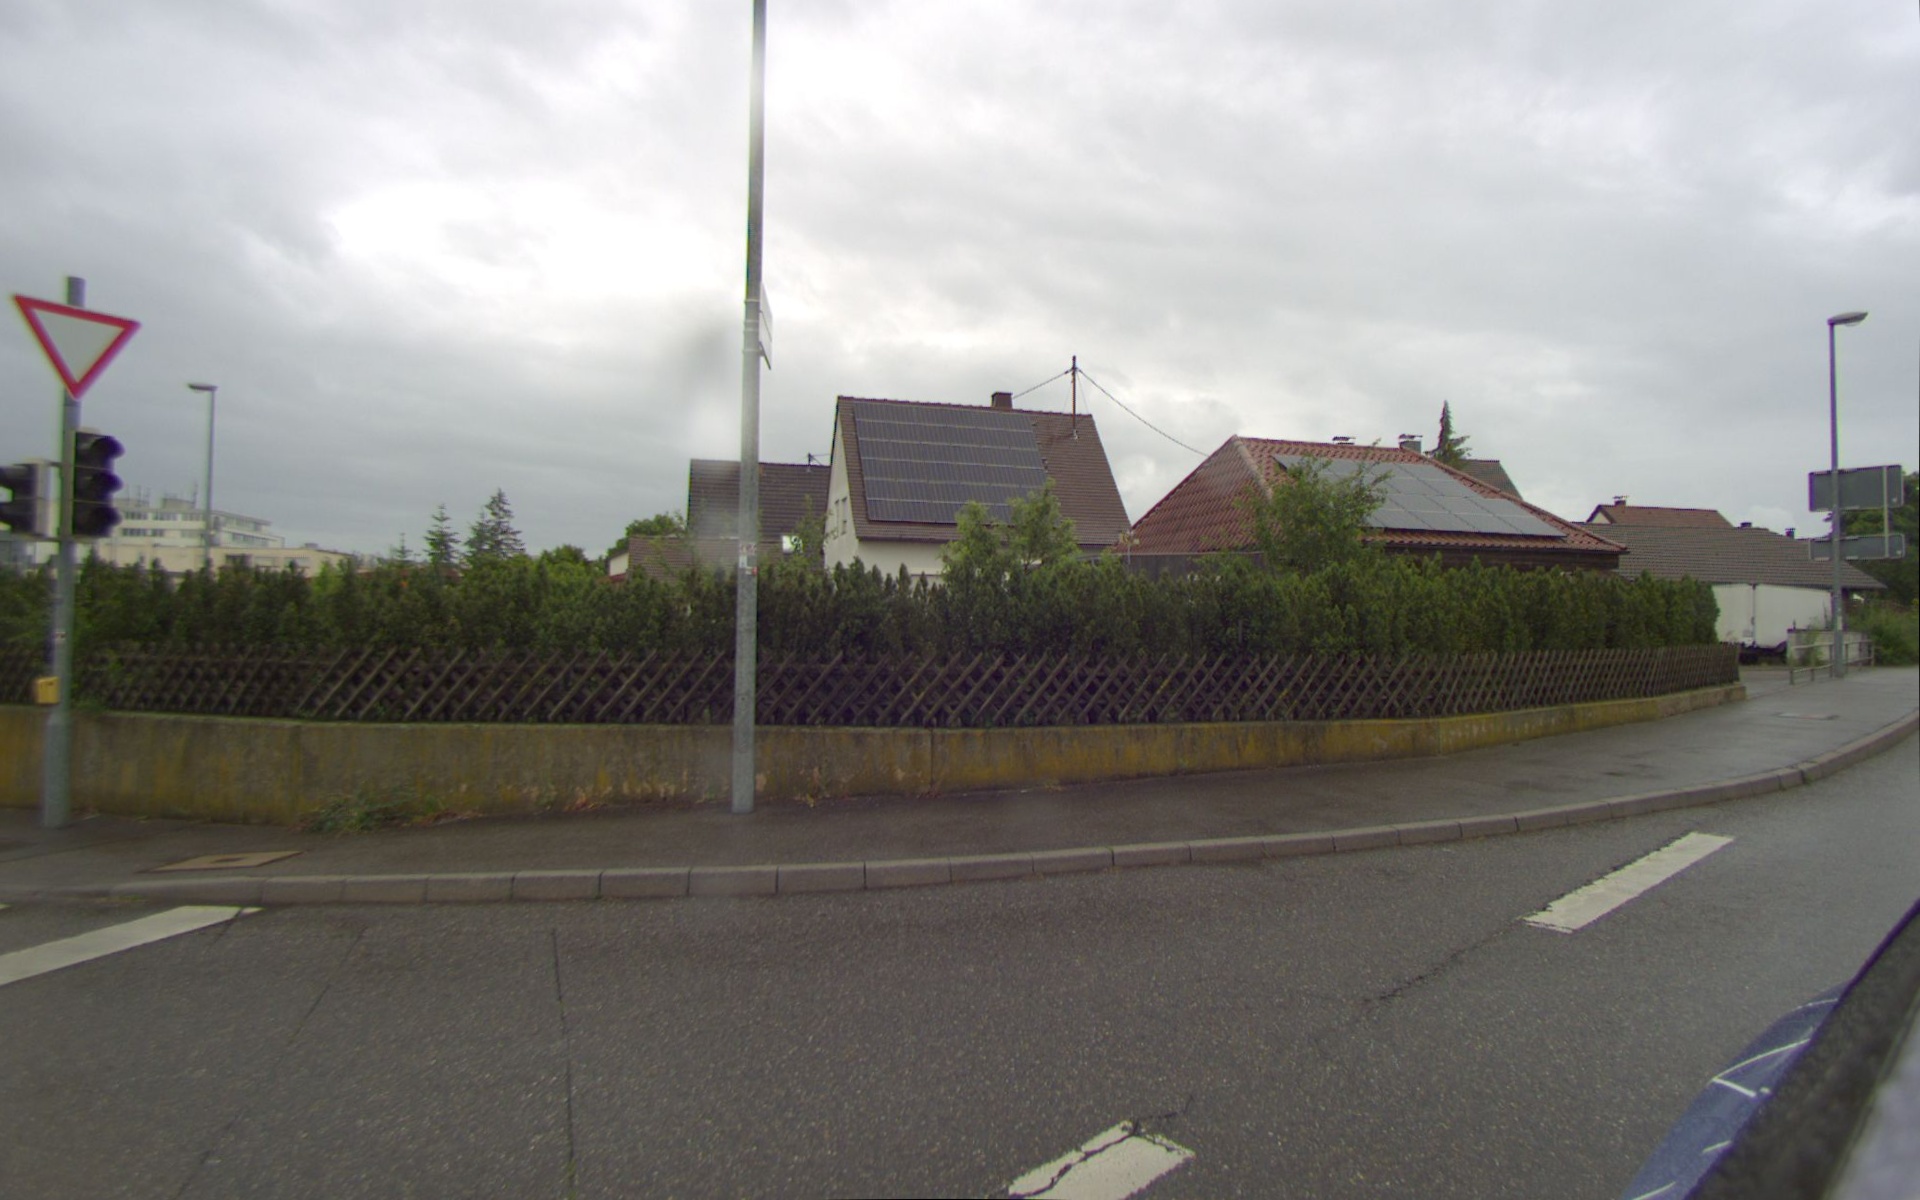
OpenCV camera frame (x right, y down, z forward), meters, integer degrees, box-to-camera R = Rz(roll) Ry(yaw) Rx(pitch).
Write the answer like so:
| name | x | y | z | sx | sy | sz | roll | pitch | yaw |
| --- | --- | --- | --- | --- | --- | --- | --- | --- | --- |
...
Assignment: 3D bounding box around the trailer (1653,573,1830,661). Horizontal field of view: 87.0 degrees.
| name | x | y | z | sx | sy | sz | roll | pitch | yaw |
| --- | --- | --- | --- | --- | --- | --- | --- | --- | --- |
| trailer | 23.686 | 0.529 | 30.716 | 4.605 | 2.550 | 1.652 | 0 | -2 | -13 |
